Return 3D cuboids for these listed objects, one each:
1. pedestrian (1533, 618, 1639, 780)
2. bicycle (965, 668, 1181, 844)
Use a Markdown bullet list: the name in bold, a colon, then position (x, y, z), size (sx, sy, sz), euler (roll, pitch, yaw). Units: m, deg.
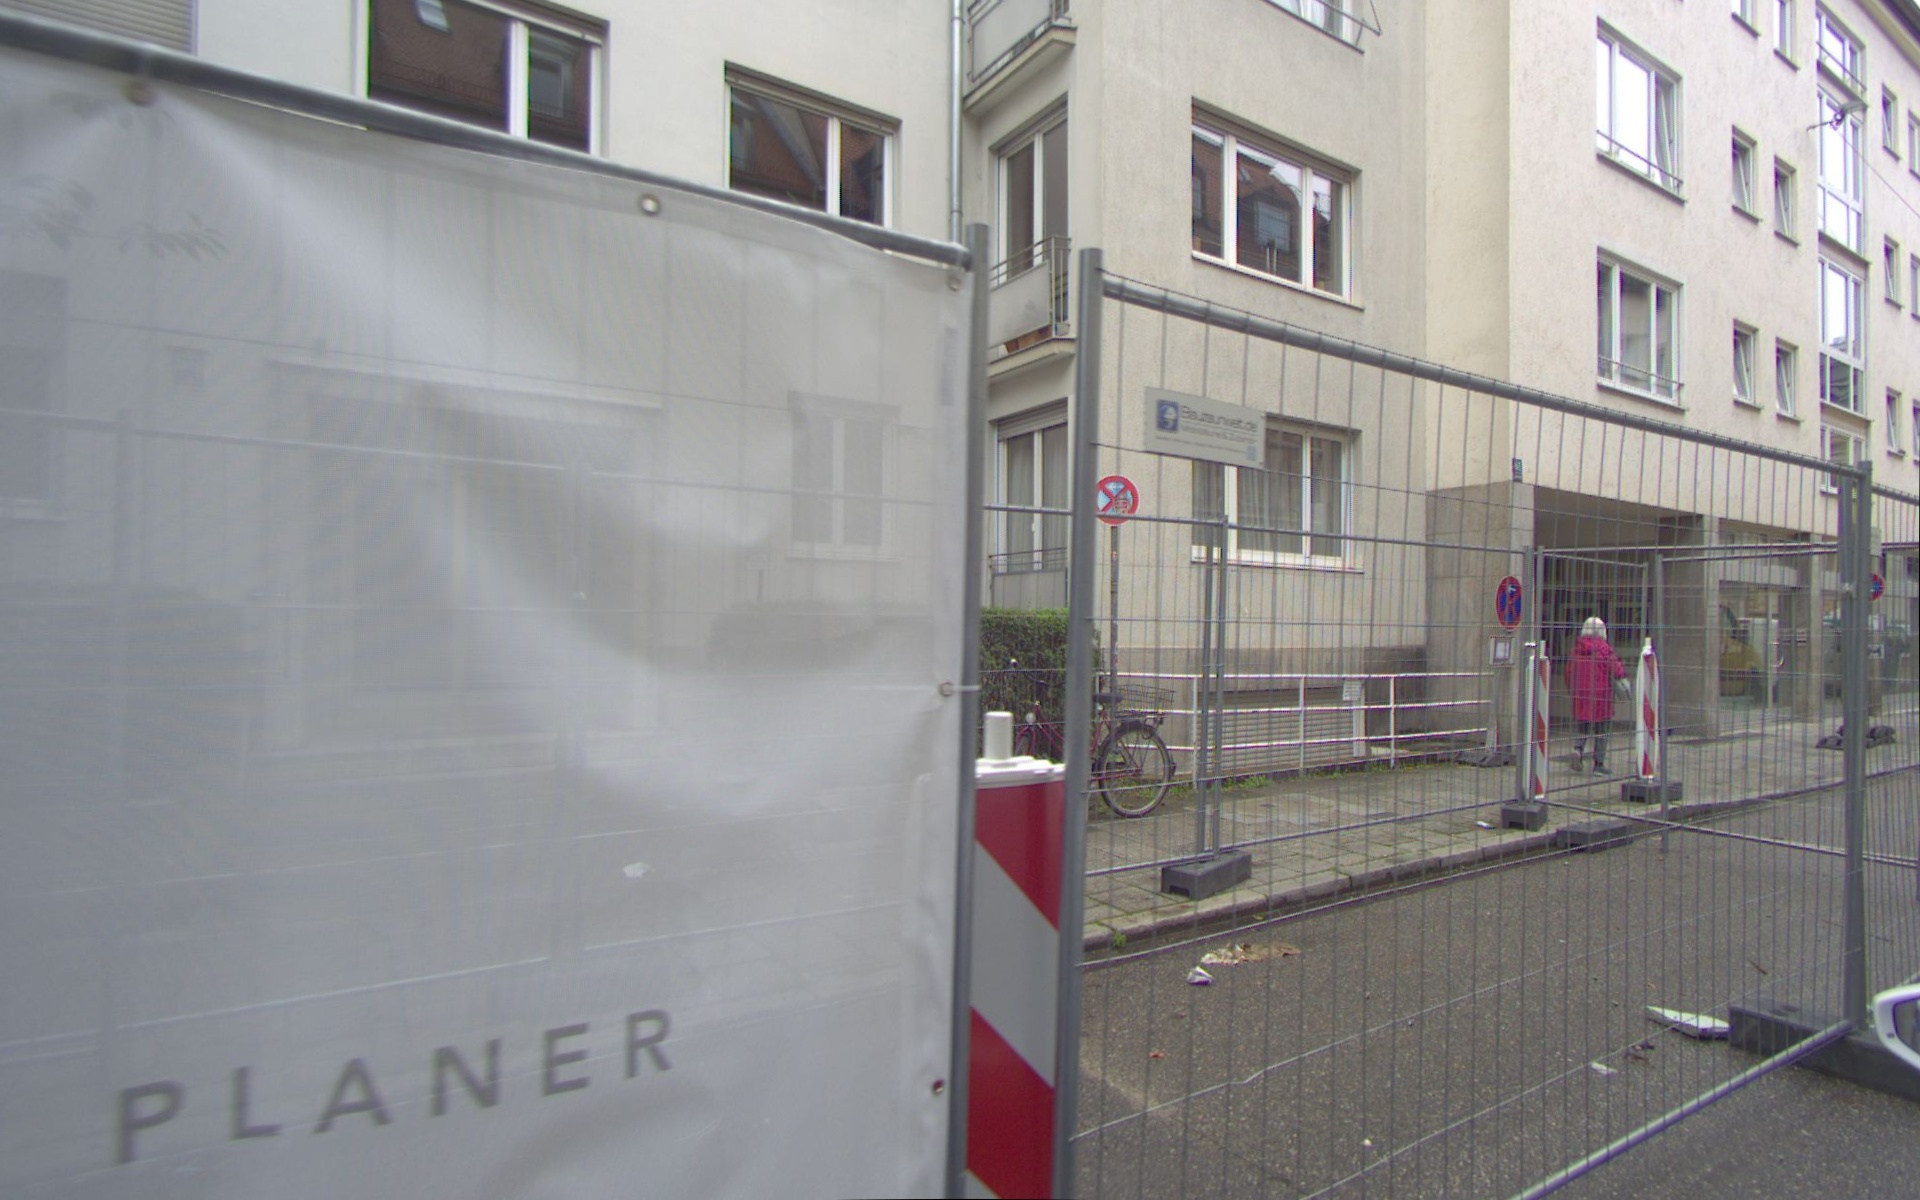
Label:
- **pedestrian**: position (6.344, 0.971, 10.184), size (0.738, 1.552, 0.635), euler (1, 0, -31)
- **bicycle**: position (0.829, 1.058, 7.124), size (1.580, 1.077, 0.375), euler (1, 4, -33)
